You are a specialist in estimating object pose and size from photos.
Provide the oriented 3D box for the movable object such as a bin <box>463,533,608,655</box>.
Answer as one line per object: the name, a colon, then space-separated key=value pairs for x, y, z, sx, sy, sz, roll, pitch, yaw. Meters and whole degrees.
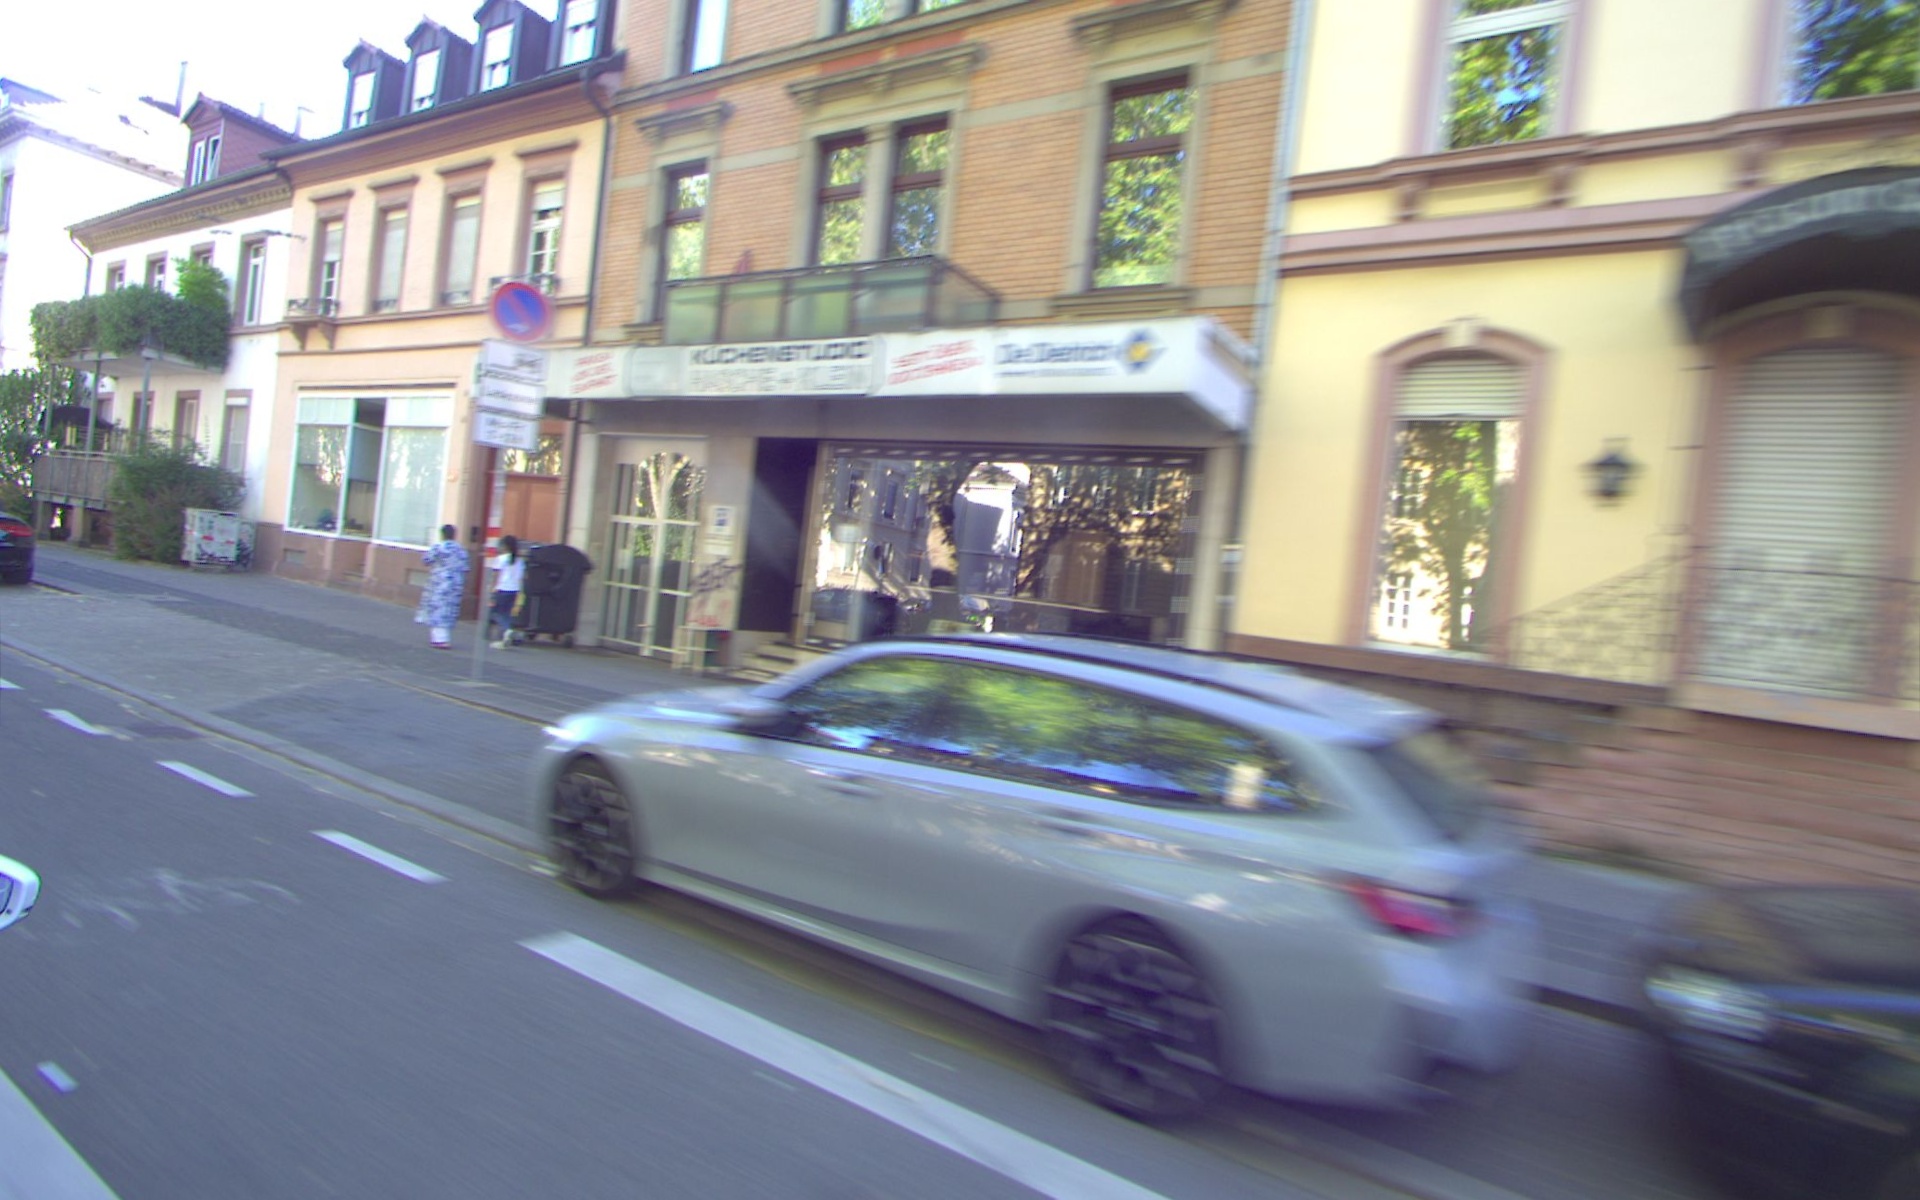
movable object such as a bin: x=-6.072 y=-0.079 z=14.422 sx=1.265 sy=1.539 sz=1.294 roll=7 pitch=0 yaw=33

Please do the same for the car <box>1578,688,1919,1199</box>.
car: x=3.960 y=1.272 z=2.483 sx=3.965 sy=1.454 sz=1.643 roll=7 pitch=4 yaw=34

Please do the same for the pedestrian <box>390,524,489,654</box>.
pedestrian: x=-6.565 y=-0.133 z=12.688 sx=0.852 sy=1.524 sz=0.660 roll=7 pitch=2 yaw=32

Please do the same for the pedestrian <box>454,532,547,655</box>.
pedestrian: x=-6.013 y=-0.082 z=13.165 sx=0.772 sy=1.501 sz=0.658 roll=7 pitch=1 yaw=32

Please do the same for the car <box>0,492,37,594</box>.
car: x=-15.610 y=-1.041 z=15.034 sx=4.423 sy=1.410 sz=1.693 roll=7 pitch=1 yaw=34

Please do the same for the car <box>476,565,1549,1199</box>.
car: x=-0.024 y=0.805 z=4.670 sx=4.589 sy=1.453 sz=1.810 roll=6 pitch=1 yaw=33
